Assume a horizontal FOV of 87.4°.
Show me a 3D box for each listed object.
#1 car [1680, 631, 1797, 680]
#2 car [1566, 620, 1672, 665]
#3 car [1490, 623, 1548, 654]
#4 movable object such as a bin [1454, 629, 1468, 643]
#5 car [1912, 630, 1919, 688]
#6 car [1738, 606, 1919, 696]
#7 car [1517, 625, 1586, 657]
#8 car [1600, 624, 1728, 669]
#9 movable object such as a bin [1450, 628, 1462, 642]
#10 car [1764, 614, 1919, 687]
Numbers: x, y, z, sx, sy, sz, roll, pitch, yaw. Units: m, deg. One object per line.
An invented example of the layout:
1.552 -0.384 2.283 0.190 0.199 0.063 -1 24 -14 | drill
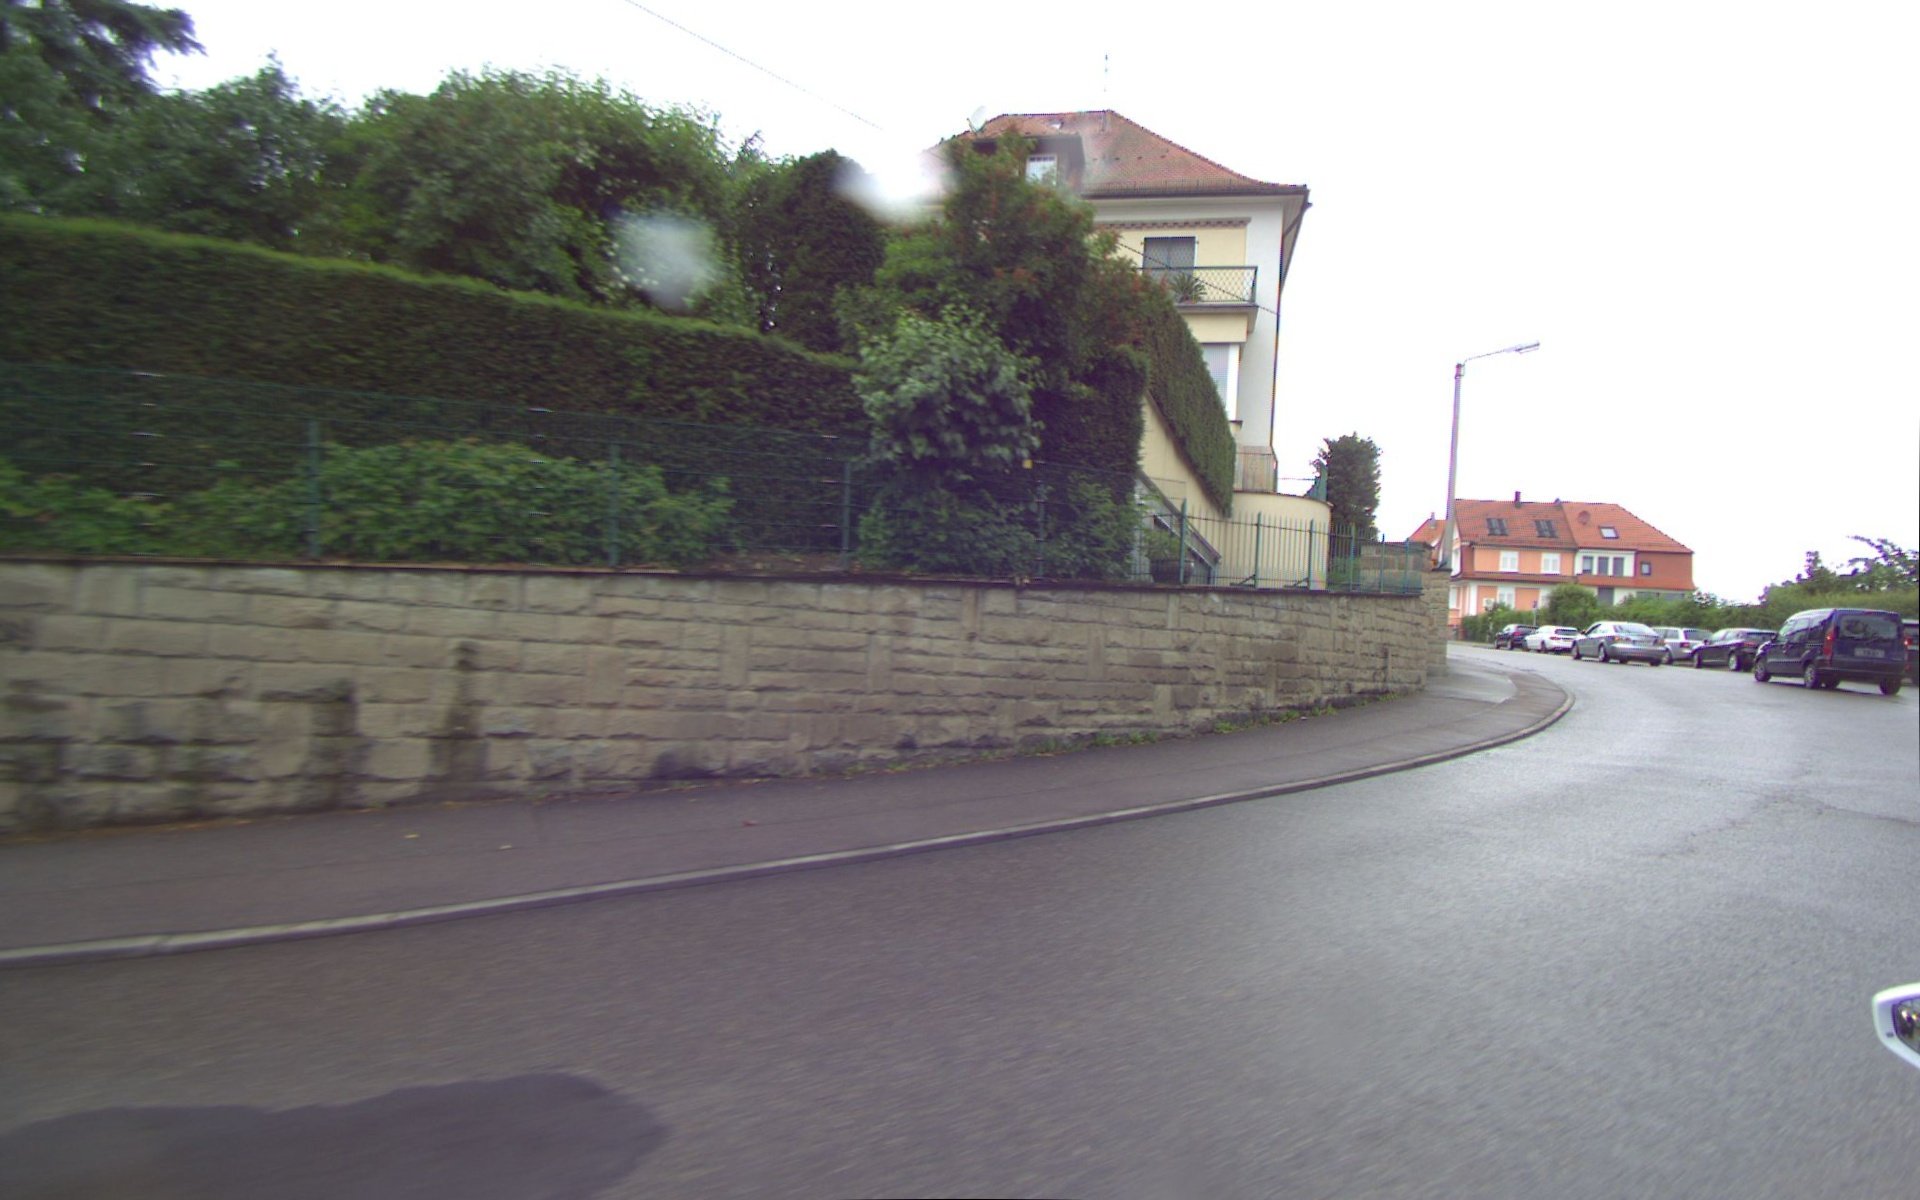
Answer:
26.424 1.842 34.250 1.660 1.441 3.986 3 -1 14 | car
22.926 1.500 35.114 1.822 1.477 4.098 0 -3 14 | car
32.193 2.190 57.950 1.724 1.550 4.208 4 0 13 | car
39.529 2.823 79.240 0.563 0.981 0.667 5 1 -19 | movable object such as a bin
24.259 1.481 23.102 1.642 1.433 3.744 3 0 12 | car
20.324 1.152 23.745 1.794 1.907 4.096 0 -2 19 | car
30.895 2.106 52.601 1.684 1.424 4.610 4 0 13 | car
28.028 1.798 40.218 1.770 1.459 4.642 4 0 0 | car
40.054 2.829 81.079 0.699 1.043 0.758 2 0 12 | movable object such as a bin
25.451 1.373 28.636 1.992 1.806 4.901 3 0 14 | car
